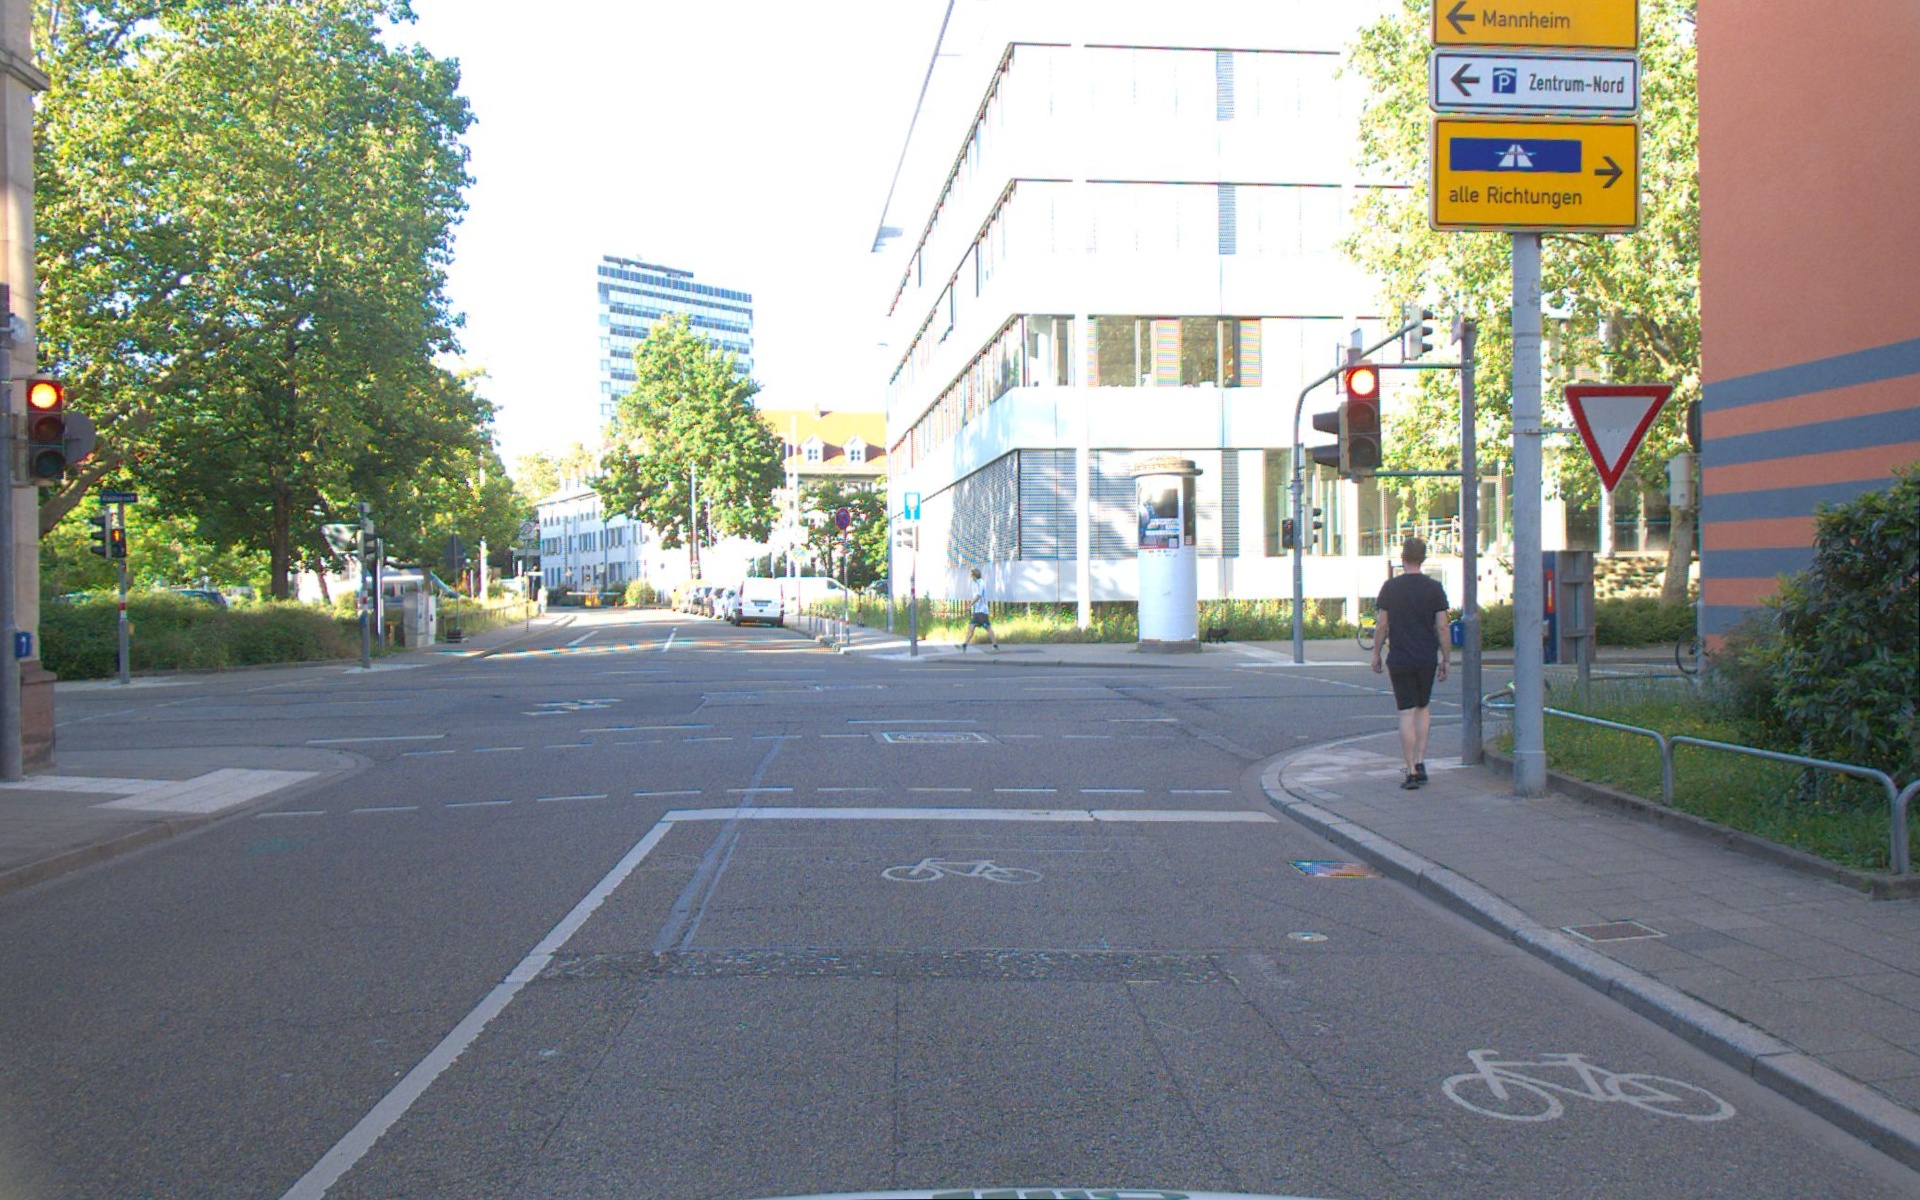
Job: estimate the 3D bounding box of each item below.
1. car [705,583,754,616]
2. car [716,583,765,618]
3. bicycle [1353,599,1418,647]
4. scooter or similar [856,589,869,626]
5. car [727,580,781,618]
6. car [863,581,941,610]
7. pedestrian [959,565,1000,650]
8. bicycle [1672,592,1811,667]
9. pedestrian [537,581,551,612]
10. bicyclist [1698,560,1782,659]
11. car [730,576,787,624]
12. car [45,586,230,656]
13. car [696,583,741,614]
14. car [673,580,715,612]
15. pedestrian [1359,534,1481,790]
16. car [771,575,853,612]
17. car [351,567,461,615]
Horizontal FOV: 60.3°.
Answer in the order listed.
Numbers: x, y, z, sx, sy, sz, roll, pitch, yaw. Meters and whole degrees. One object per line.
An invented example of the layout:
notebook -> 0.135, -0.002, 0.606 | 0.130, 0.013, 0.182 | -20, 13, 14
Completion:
car -> -11.315, -0.031, 81.084 | 1.959, 1.525, 4.272 | 1, 0, -13
car -> -10.201, 0.038, 76.653 | 1.958, 1.525, 4.639 | 1, 0, -11
bicycle -> 9.320, 0.501, 36.285 | 0.376, 1.026, 1.410 | -1, 0, -42
scooter or similar -> -3.433, 0.253, 58.237 | 0.429, 1.278, 1.418 | -1, 0, -5
car -> -8.875, -0.038, 70.902 | 1.958, 1.525, 4.639 | 1, 0, -11
car -> -3.685, -0.265, 104.724 | 4.563, 1.755, 1.991 | 1, 0, -17
pedestrian -> 0.443, 0.165, 37.801 | 0.895, 1.901, 0.742 | 1, -1, -2
bicycle -> 12.518, 0.468, 26.530 | 1.922, 1.172, 0.593 | -1, 0, 5
pedestrian -> -22.234, -0.185, 88.417 | 0.688, 1.614, 0.634 | 1, -1, -16
bicyclist -> 12.506, 0.147, 26.537 | 1.052, 1.554, 0.593 | -1, 0, 5
car -> -7.922, -0.001, 64.703 | 1.957, 1.755, 4.641 | 1, 0, -10
car -> -18.370, 0.477, 37.064 | 3.347, 1.483, 1.646 | 1, 0, -11
car -> -12.559, -0.075, 85.789 | 1.959, 1.525, 4.637 | 1, 0, -13
car -> -15.392, -0.239, 95.604 | 1.960, 1.755, 4.635 | 1, 0, -14
pedestrian -> 3.419, 0.452, 12.334 | 0.685, 1.842, 0.720 | 1, -1, 0
car -> -9.210, -0.380, 102.797 | 4.718, 2.196, 1.990 | 1, 0, -18
car -> -24.969, -0.409, 74.680 | 4.363, 2.049, 1.995 | 1, 0, -10
